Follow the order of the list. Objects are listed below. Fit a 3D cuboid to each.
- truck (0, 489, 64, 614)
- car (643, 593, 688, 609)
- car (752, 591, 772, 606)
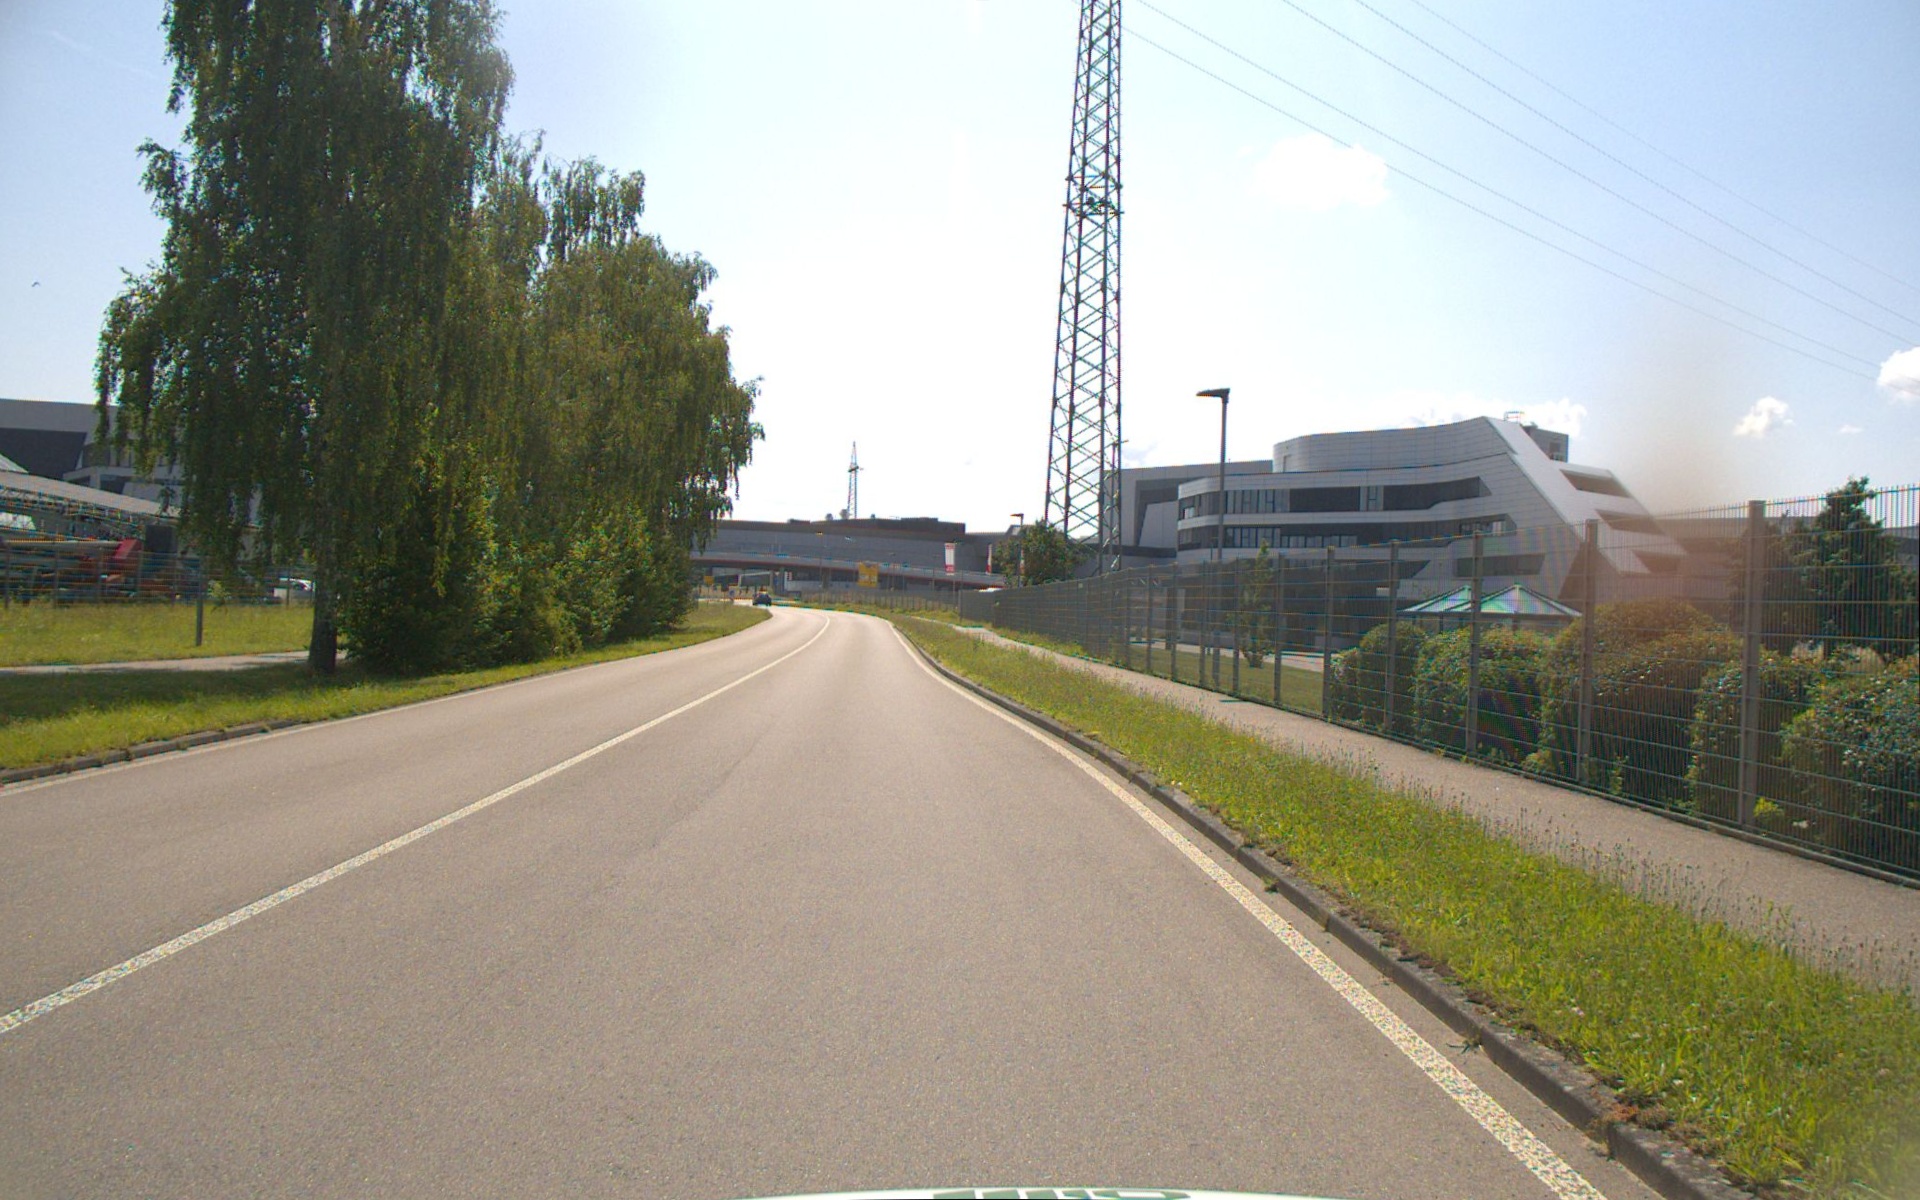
[{"bbox_3d":[-28.335,-1.428,47.380,2.386,3.512,5.440,2,0,-2],"label":"truck"},{"bbox_3d":[-27.075,0.057,151.914,3.656,1.312,1.688,3,0,-34],"label":"car"},{"bbox_3d":[-21.965,-0.208,183.782,1.975,1.534,3.991,3,0,-9],"label":"car"}]
